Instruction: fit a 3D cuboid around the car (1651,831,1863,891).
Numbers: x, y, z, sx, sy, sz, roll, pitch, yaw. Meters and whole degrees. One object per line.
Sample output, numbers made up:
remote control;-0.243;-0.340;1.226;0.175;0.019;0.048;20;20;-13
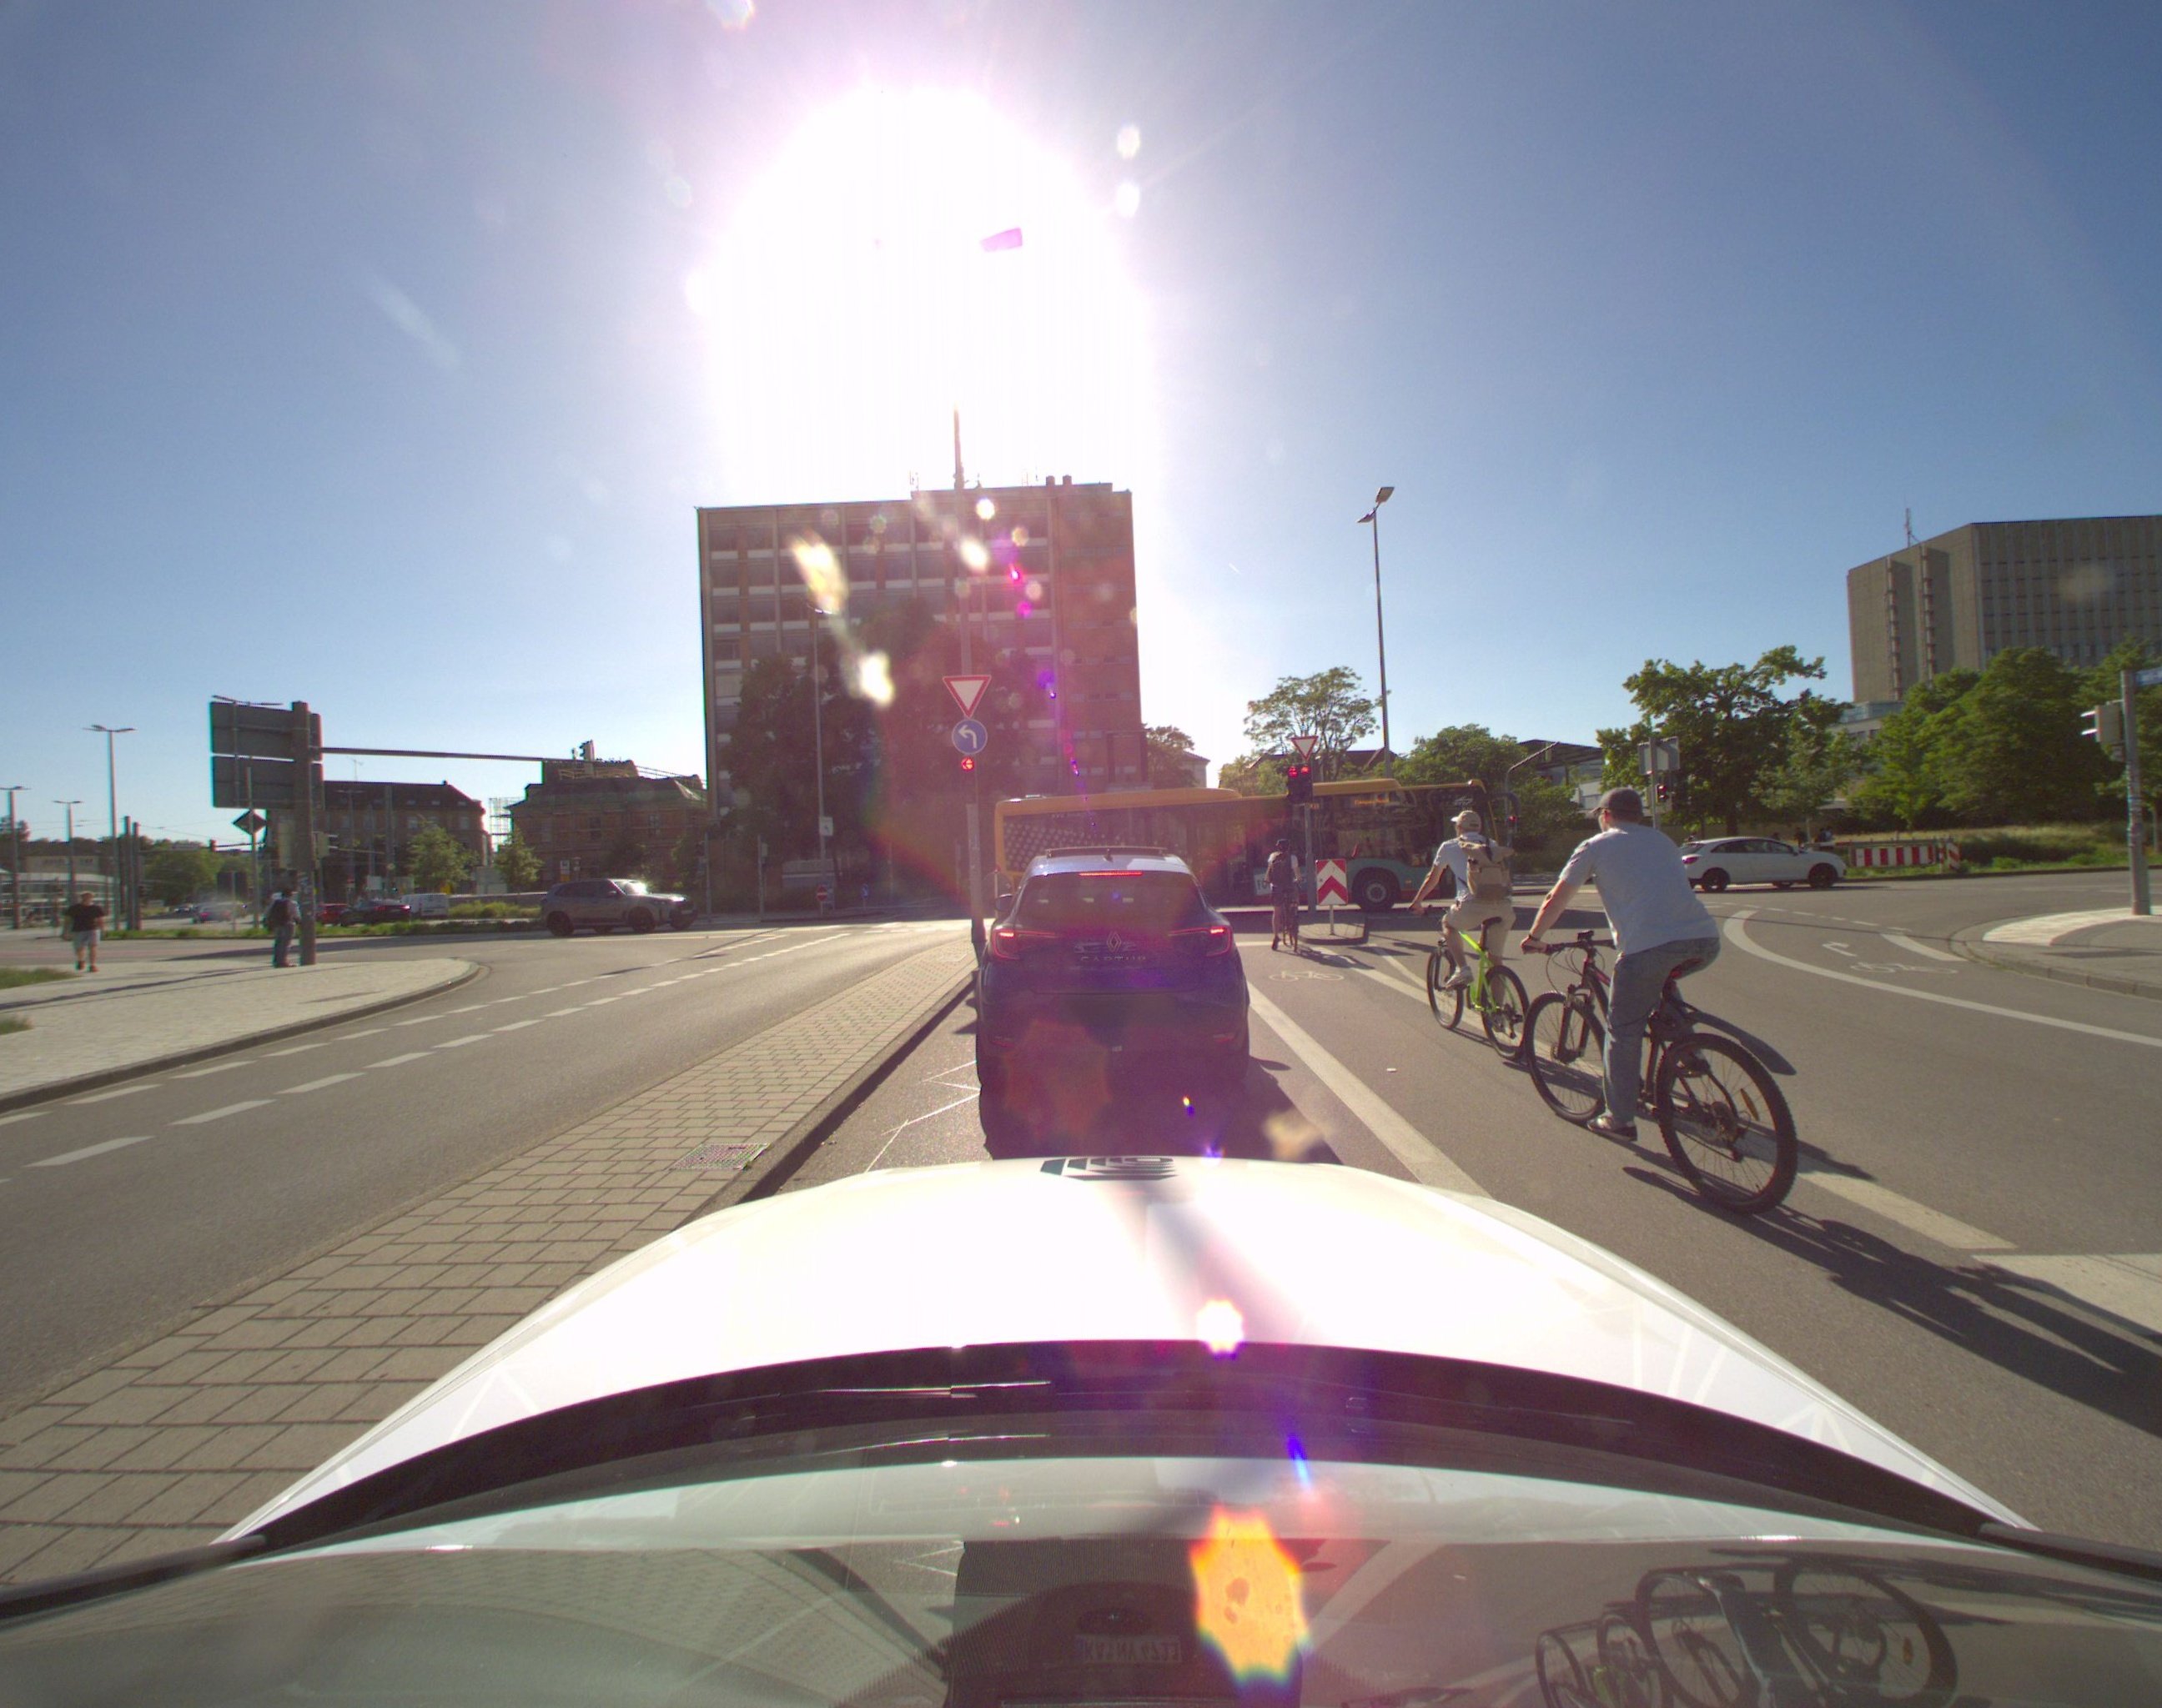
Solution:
car;17.768;0.187;21.594;3.962;1.373;1.764;-2;0;10

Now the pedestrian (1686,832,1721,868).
pedestrian;31.056;-0.209;40.638;0.958;1.732;0.927;-2;-1;6

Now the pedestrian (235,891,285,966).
pedestrian;-19.276;1.745;19.126;0.627;1.697;0.608;-3;-1;25

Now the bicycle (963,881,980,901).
bicycle;-5.966;2.041;44.126;0.699;1.007;1.859;-3;-3;-13

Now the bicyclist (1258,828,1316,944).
bicyclist;3.278;0.492;13.040;0.674;1.785;0.939;-1;-1;0

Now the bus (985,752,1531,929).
bus;4.041;-0.155;20.589;12.330;3.570;3.263;-2;0;15

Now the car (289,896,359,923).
car;-48.009;3.520;51.640;3.771;1.518;2.012;-3;-1;27

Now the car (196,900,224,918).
car;-112.023;7.056;104.819;2.078;2.013;3.951;-5;0;-43

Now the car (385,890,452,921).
car;-47.433;3.678;58.263;4.951;2.013;2.085;-3;-1;31

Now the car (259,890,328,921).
car;-70.906;4.619;73.303;6.867;2.547;3.032;-3;-1;34

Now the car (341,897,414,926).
car;-42.186;3.443;48.824;3.771;1.518;2.012;-3;-1;27

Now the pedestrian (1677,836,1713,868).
pedestrian;30.106;-0.098;39.953;1.069;1.521;0.880;-2;-1;6

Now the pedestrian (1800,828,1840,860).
pedestrian;36.764;-0.501;40.536;1.138;1.521;0.880;-3;-1;5

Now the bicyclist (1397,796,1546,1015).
bicyclist;3.043;0.375;6.455;0.672;1.583;1.081;0;0;1

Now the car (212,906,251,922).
car;-87.710;6.207;84.055;4.005;1.439;2.079;-3;0;34

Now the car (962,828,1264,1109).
car;0.226;0.684;6.808;1.788;1.655;3.853;-1;0;1

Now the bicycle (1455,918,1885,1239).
bicycle;2.694;0.934;4.072;0.745;1.050;1.903;-3;0;0

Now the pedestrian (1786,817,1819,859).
pedestrian;36.677;-0.794;41.413;0.891;2.079;0.814;-2;-1;5

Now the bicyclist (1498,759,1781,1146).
bicyclist;2.684;0.432;4.022;0.737;1.674;0.865;-2;-1;0

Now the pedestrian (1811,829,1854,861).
pedestrian;36.677;-0.425;39.773;1.123;1.521;0.992;-2;-1;5

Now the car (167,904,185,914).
car;-169.629;10.351;152.732;2.012;1.673;3.950;-2;-1;-45

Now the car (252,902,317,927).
car;-53.572;4.089;54.773;3.771;1.518;2.012;-3;-1;27

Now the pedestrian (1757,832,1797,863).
pedestrian;34.674;-0.323;40.600;1.140;1.521;0.944;-2;-1;7

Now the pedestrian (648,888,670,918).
pedestrian;-29.669;3.466;57.253;0.816;2.013;1.021;-3;-1;25

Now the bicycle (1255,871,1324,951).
bicycle;3.295;0.863;13.012;0.613;1.138;1.826;-2;0;0

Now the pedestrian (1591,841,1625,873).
pedestrian;26.386;0.146;40.800;1.078;1.521;0.933;-2;-1;11

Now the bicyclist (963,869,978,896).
bicyclist;-5.977;1.558;44.086;0.648;1.412;0.635;-2;-3;-14

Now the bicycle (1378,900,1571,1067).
bicycle;3.044;0.940;6.519;0.669;1.050;1.844;0;0;1

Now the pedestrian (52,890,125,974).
pedestrian;-22.997;1.796;18.875;0.856;1.845;0.847;-3;-1;25

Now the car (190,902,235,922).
car;-79.447;5.305;74.478;4.795;1.582;2.115;-3;0;35

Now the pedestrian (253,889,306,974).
pedestrian;-18.159;1.745;18.460;0.673;1.855;0.608;-3;-1;25

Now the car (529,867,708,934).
car;-14.723;1.474;26.060;4.697;1.861;2.011;-3;-1;10
